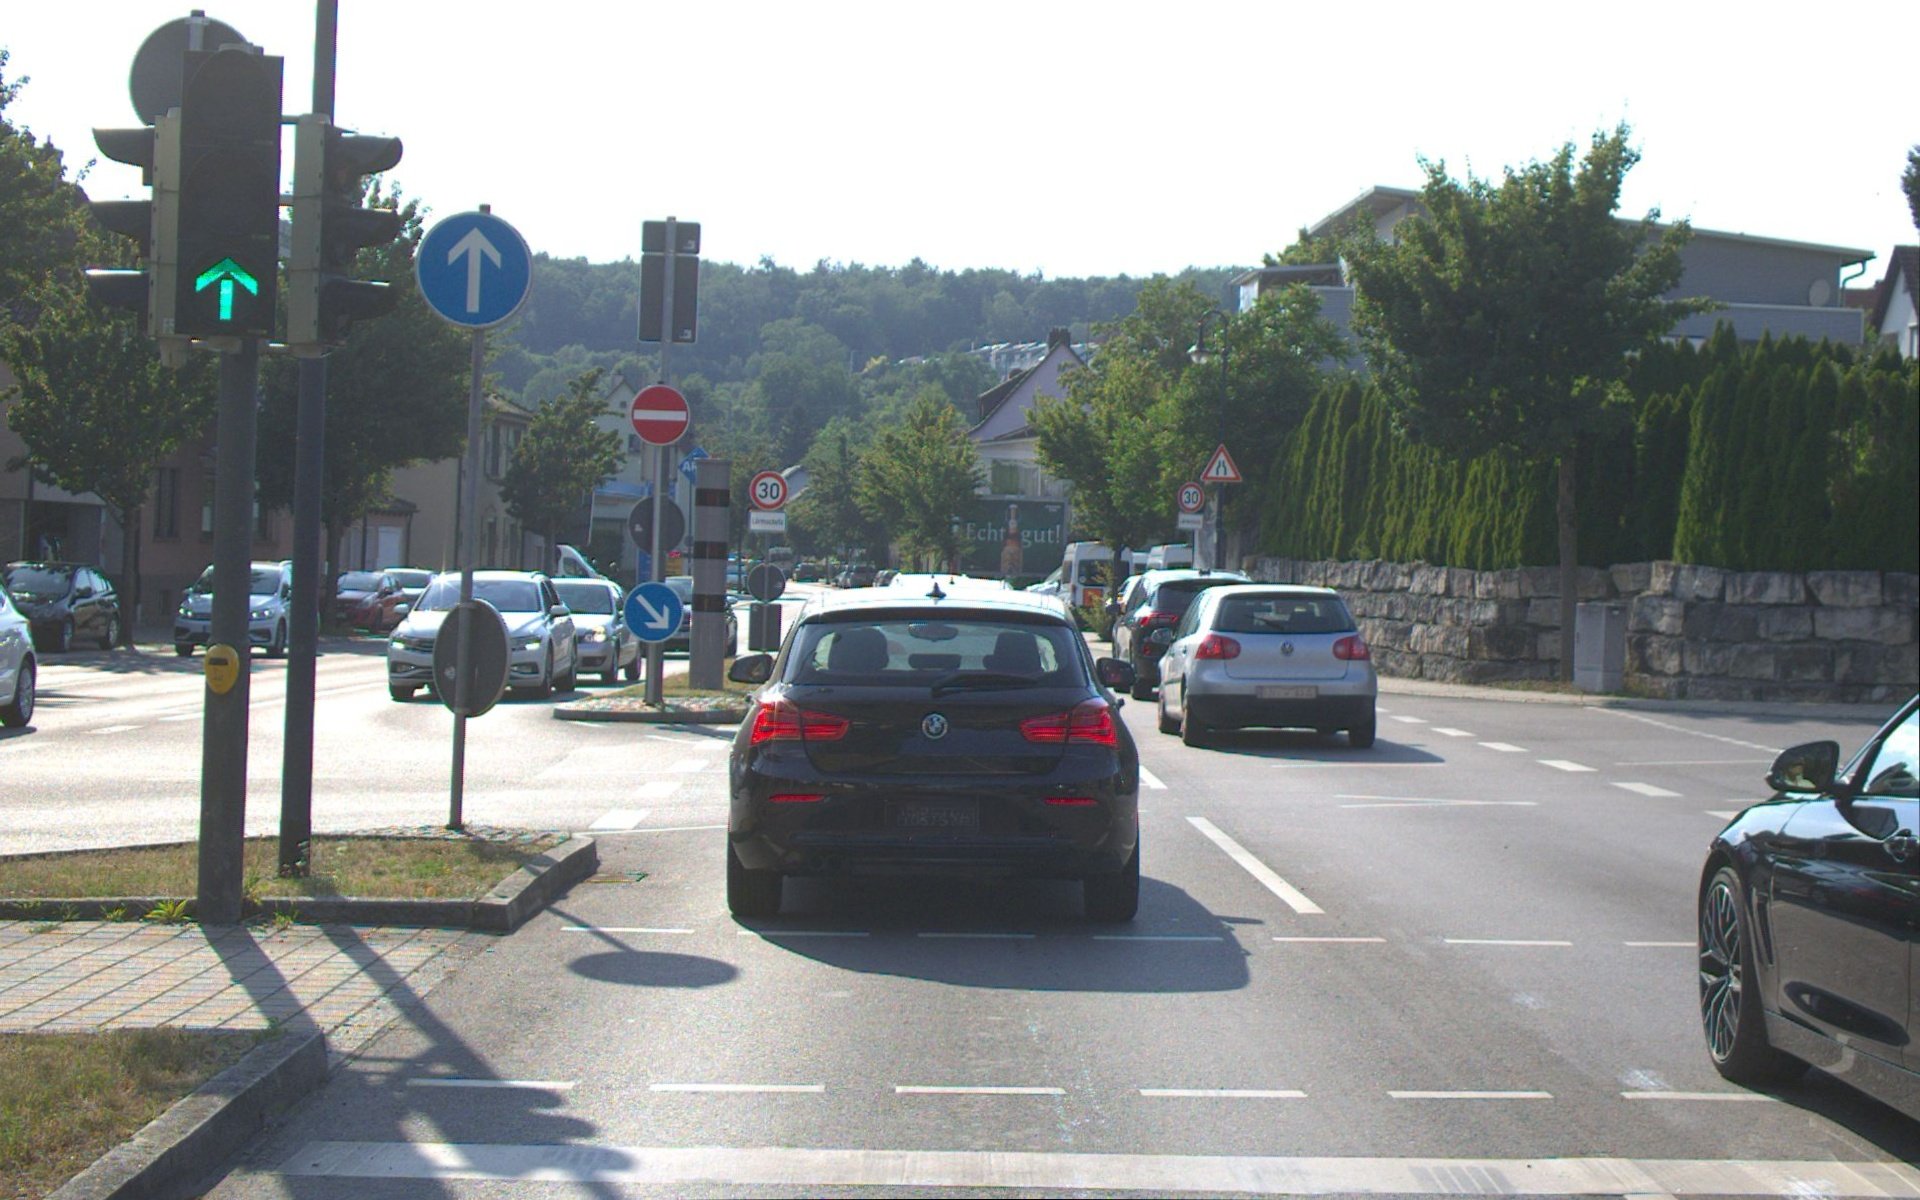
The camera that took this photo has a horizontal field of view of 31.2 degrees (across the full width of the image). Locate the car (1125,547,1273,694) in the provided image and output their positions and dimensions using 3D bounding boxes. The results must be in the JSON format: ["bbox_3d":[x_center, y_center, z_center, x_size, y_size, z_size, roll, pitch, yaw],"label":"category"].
[{"bbox_3d":[2.993,0.224,43.600,1.603,1.761,3.411,1,1,0],"label":"car"}]

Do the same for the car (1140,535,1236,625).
[{"bbox_3d":[7.144,-0.651,108.282,2.111,2.712,6.444,1,1,-4],"label":"car"}]

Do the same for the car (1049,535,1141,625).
[{"bbox_3d":[4.184,-0.660,107.878,2.149,2.671,6.604,1,1,-4],"label":"car"}]

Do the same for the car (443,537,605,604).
[{"bbox_3d":[-17.420,-1.182,137.576,6.158,2.436,2.250,2,1,-2],"label":"car"}]

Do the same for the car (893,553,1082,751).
[{"bbox_3d":[0.203,0.419,31.521,1.591,1.594,3.894,1,2,-1],"label":"car"}]

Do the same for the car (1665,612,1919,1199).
[{"bbox_3d":[3.108,0.762,8.597,1.699,1.364,4.263,1,1,-1],"label":"car"}]

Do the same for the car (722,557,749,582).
[{"bbox_3d":[-14.125,-1.902,216.198,1.596,1.480,3.475,2,1,-3],"label":"car"}]

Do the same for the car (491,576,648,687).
[{"bbox_3d":[-5.253,0.405,46.552,1.589,1.422,3.578,1,0,2],"label":"car"}]

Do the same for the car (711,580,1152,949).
[{"bbox_3d":[-0.148,0.657,15.667,1.771,1.451,3.516,0,1,-1],"label":"car"}]

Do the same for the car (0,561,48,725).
[{"bbox_3d":[-9.204,0.371,29.470,1.757,1.406,4.000,1,1,-1],"label":"car"}]

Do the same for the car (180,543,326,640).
[{"bbox_3d":[-12.396,-0.160,60.480,1.685,1.606,4.413,1,1,-1],"label":"car"}]

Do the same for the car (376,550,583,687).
[{"bbox_3d":[-5.613,0.177,40.617,1.835,1.483,4.566,1,1,-1],"label":"car"}]

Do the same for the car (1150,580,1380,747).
[{"bbox_3d":[2.782,0.548,32.031,1.753,1.409,3.422,1,1,-1],"label":"car"}]

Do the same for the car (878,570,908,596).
[{"bbox_3d":[-3.987,-1.008,204.328,1.596,1.480,3.475,2,1,-3],"label":"car"}]

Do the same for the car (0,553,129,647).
[{"bbox_3d":[-15.272,-0.028,57.970,1.618,1.505,4.133,1,1,-2],"label":"car"}]

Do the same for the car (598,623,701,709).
[{"bbox_3d":[-5.759,1.201,64.056,1.532,1.457,3.506,1,1,1],"label":"car"}]
